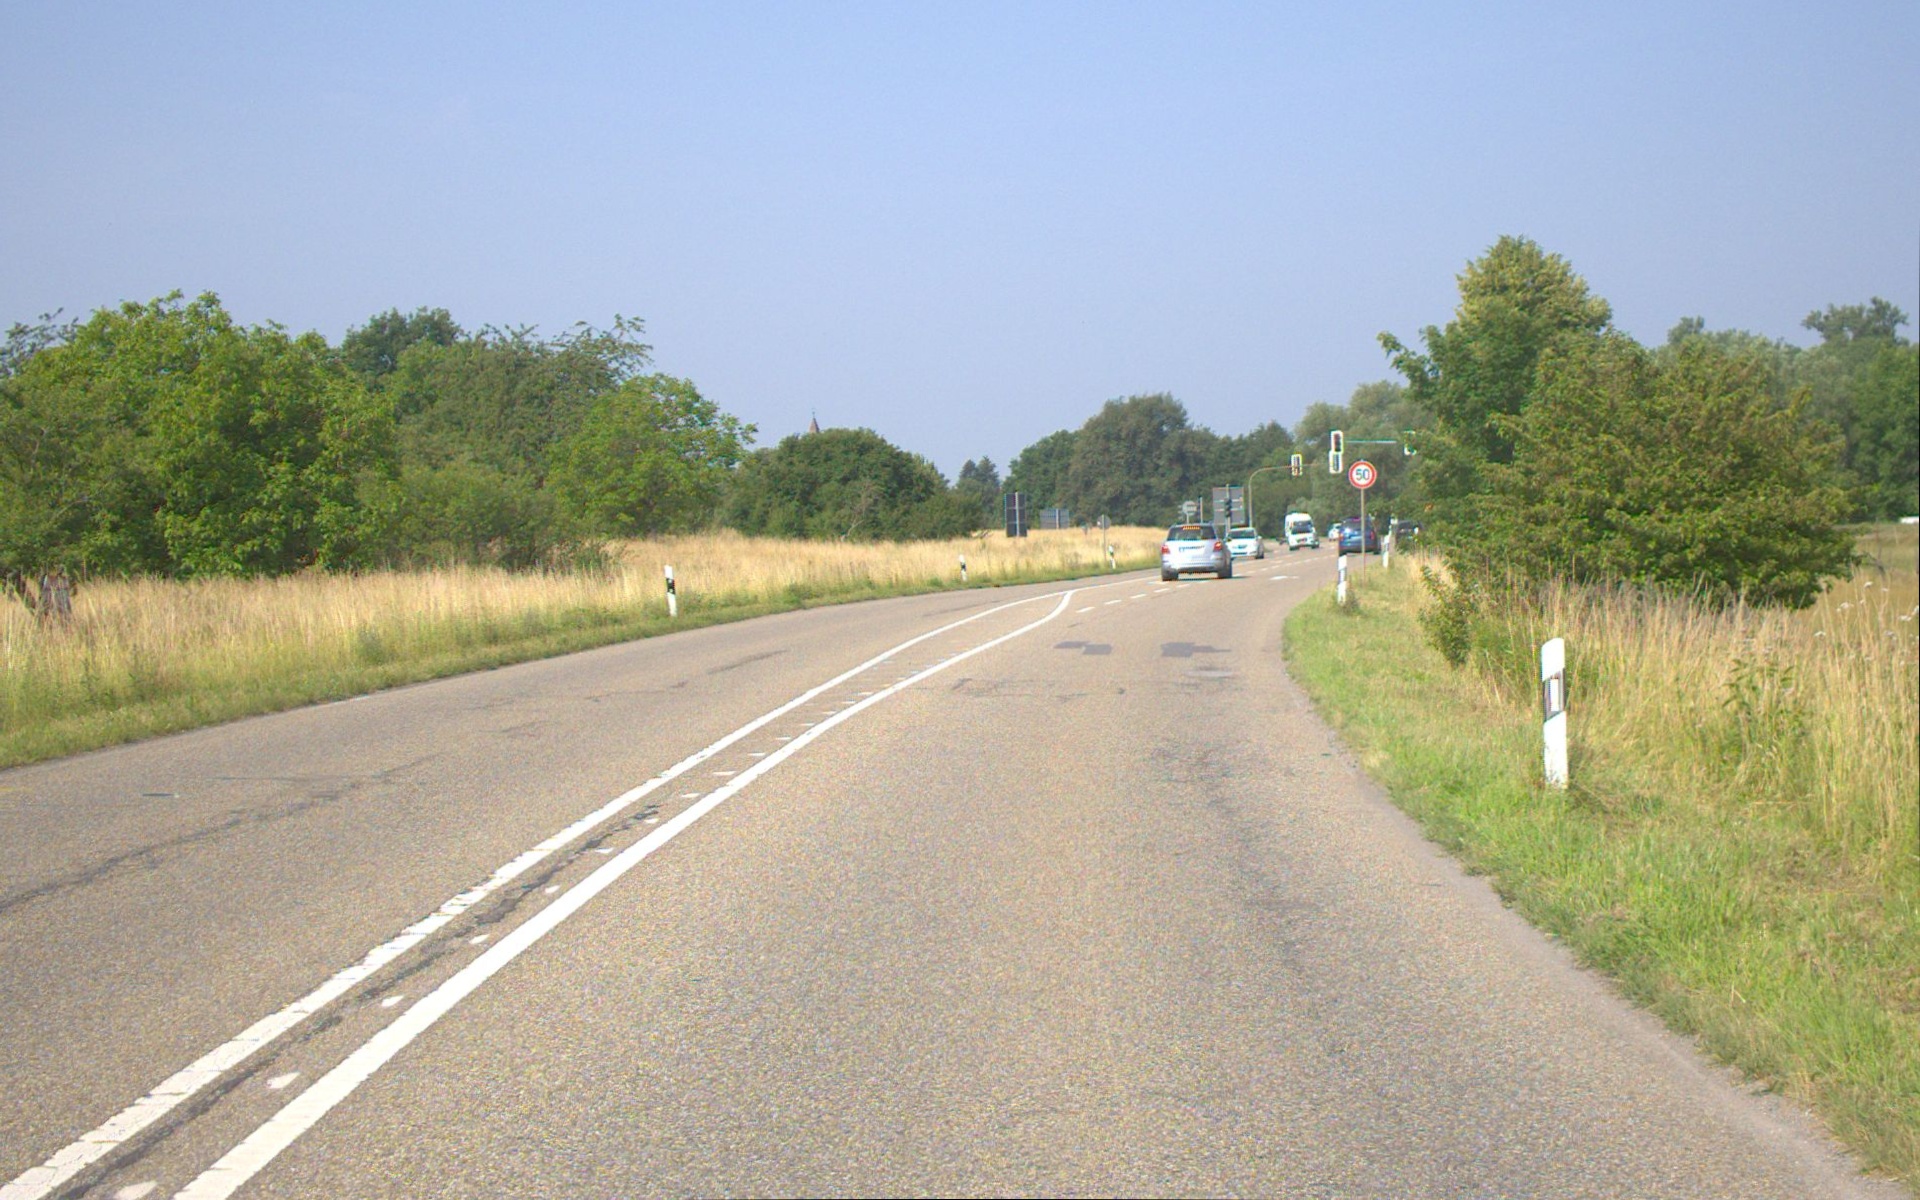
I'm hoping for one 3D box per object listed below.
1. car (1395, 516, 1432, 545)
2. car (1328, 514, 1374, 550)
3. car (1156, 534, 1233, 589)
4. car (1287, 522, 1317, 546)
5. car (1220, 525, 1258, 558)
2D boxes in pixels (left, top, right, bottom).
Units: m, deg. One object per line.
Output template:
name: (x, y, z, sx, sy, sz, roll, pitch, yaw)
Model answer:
car: (25.428, -3.895, 192.957, 1.841, 1.546, 4.000, -1, 1, 4)
car: (17.406, -3.030, 152.905, 1.817, 1.515, 3.999, -2, 1, 9)
car: (6.739, -1.113, 98.380, 1.900, 1.506, 3.999, 1, 1, 8)
car: (24.256, -4.692, 244.057, 1.836, 1.688, 3.858, -1, 1, 10)
car: (13.906, -2.914, 171.410, 1.812, 1.579, 4.224, 1, 1, 5)
